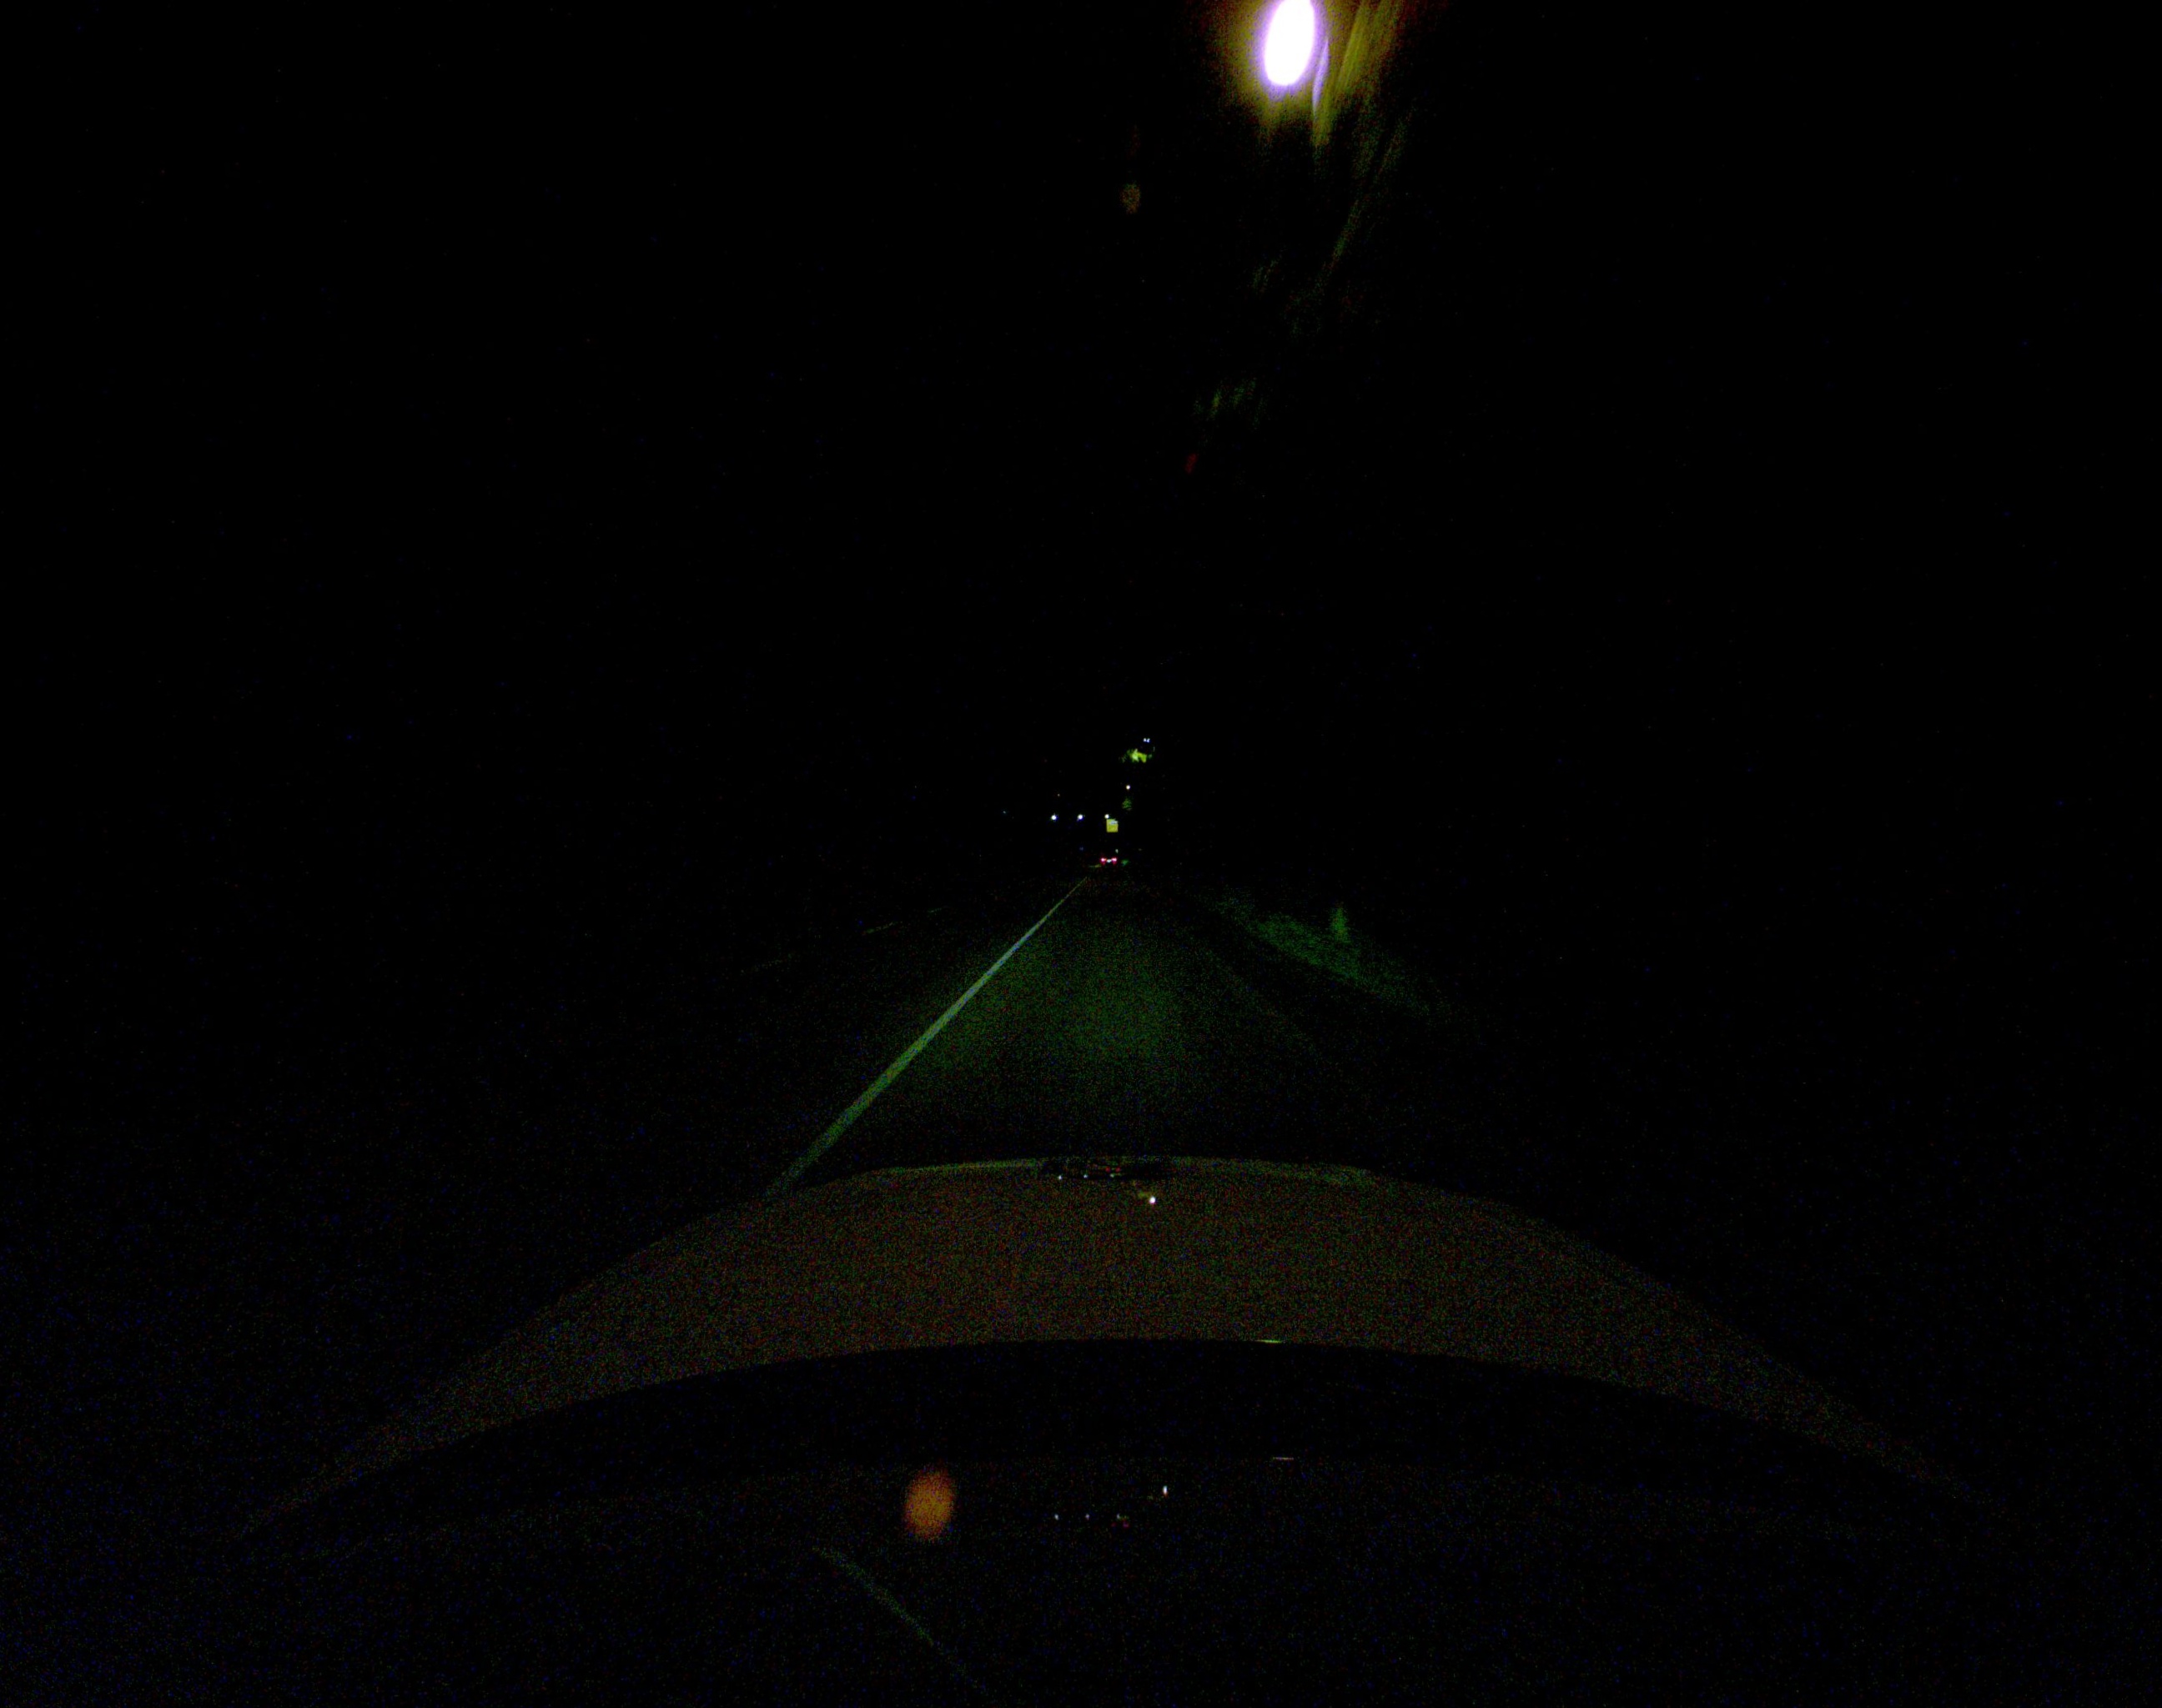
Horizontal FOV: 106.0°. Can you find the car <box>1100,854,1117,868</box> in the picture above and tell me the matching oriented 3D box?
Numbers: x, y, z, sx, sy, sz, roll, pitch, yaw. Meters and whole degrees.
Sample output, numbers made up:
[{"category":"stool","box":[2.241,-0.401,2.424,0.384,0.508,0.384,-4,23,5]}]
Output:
[{"category":"car","box":[3.332,0.815,97.956,1.755,1.641,3.728,-1,1,4]}]
